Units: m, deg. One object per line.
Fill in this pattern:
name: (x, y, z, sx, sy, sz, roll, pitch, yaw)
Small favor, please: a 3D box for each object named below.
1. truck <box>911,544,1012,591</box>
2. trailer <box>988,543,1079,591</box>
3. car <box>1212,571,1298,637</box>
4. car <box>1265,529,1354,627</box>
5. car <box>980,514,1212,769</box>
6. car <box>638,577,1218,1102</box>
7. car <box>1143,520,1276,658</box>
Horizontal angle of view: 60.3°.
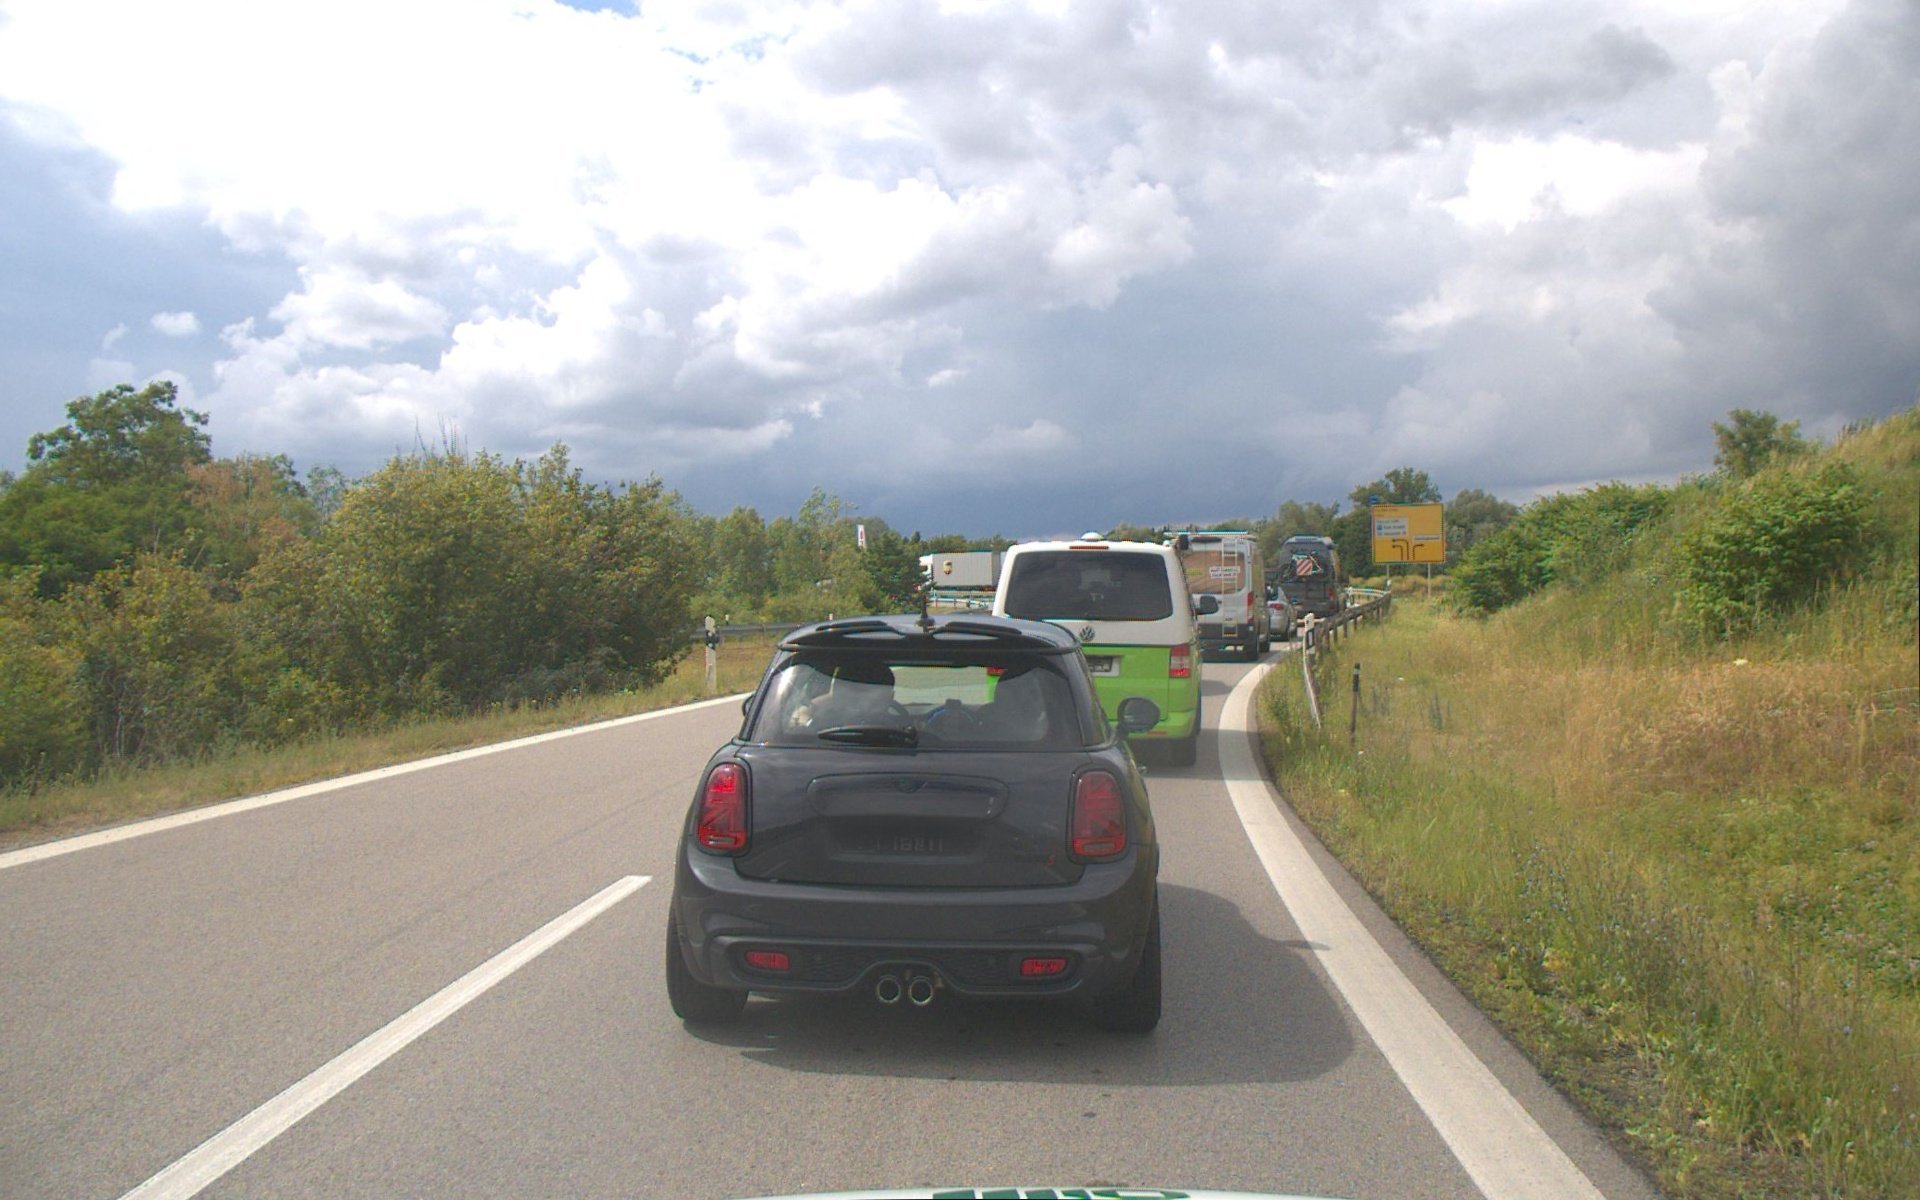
truck: (0.093, -2.840, 148.224, 9.860, 4.045, 2.826, 1, 0, 44)
trailer: (6.234, -2.750, 141.265, 3.012, 3.966, 8.660, 1, 0, -36)
car: (7.975, 0.118, 44.457, 1.951, 1.671, 3.931, 1, 0, 15)
car: (11.945, -0.694, 56.147, 2.262, 3.122, 6.665, 1, 0, 18)
car: (1.430, 0.330, 15.725, 1.870, 2.081, 4.184, 0, 0, 9)
car: (0.001, 0.709, 6.906, 1.762, 1.573, 3.740, 0, 0, 3)
car: (5.380, -0.202, 35.047, 2.165, 2.668, 5.538, 1, 0, 15)
